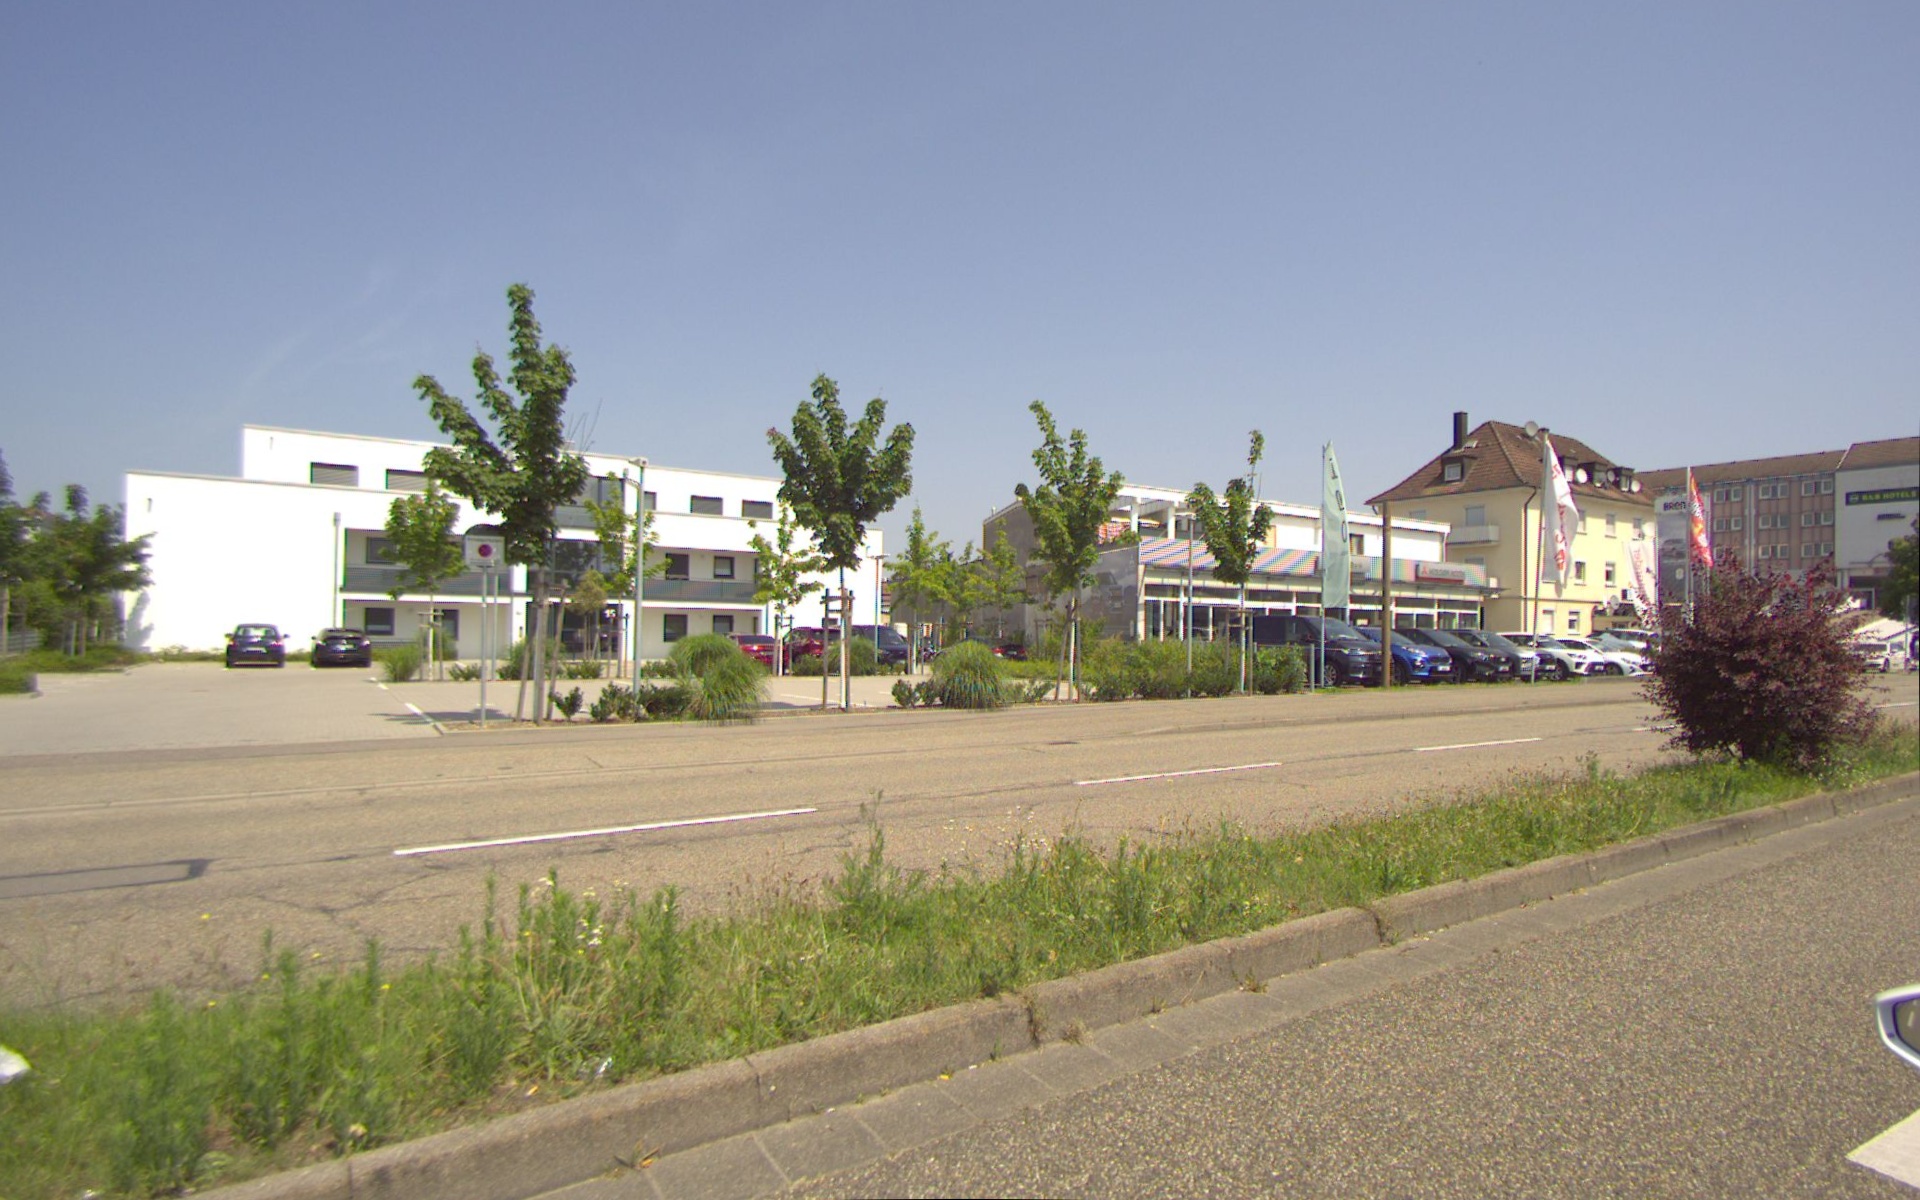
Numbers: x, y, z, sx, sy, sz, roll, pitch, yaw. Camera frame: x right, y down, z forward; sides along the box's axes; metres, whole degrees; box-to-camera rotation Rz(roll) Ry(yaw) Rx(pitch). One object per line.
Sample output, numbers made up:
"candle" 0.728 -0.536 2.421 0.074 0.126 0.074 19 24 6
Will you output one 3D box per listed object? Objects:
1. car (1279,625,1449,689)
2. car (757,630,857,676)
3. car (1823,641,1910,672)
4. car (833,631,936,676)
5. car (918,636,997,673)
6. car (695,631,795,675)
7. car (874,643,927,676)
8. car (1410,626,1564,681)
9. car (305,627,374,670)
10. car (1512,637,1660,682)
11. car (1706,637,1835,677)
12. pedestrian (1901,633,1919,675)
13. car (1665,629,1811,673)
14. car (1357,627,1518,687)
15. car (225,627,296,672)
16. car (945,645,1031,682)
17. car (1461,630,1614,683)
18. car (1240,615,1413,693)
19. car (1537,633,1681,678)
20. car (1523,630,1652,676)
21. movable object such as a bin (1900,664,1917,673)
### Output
"car" 11.189 1.535 28.058 2.067 1.629 3.963 2 -2 -34
"car" -5.400 1.820 35.116 1.861 1.472 3.959 2 -2 -36
"car" 43.253 2.673 47.903 4.703 1.429 1.768 2 -2 -30
"car" -2.762 1.876 36.075 1.861 1.472 3.959 2 -2 -36
"car" -0.131 1.950 36.537 1.701 1.240 3.522 1 -2 -21
"car" -7.212 1.736 33.448 1.829 1.332 3.960 2 -2 -35
"car" -2.917 2.874 48.712 1.847 1.472 3.989 1 -2 -14
"car" 16.417 1.615 31.460 1.741 1.588 3.963 2 -2 -33
"car" -22.919 1.760 37.050 1.861 1.472 3.959 2 -2 -36
"car" 21.481 2.008 34.592 1.841 1.413 3.963 2 -2 -34
"car" 35.829 2.504 44.498 4.094 1.664 1.841 0 -1 6
"pedestrian" 41.447 2.333 43.515 1.021 1.770 0.737 1 -2 -30
"car" 32.416 2.098 41.996 1.741 1.732 4.519 1 -2 -33
"car" 13.932 1.610 29.483 1.741 1.629 3.963 2 -2 -33
"car" -25.019 1.730 35.876 1.862 1.472 3.956 2 -2 -38
"car" 1.028 2.418 38.797 1.631 1.261 3.694 1 -2 -31
"car" 18.947 1.815 33.106 1.905 1.629 3.963 2 -2 -34
"car" 9.659 1.375 26.721 1.979 1.906 3.963 2 -2 -34
"car" 23.100 1.930 35.872 1.741 1.486 3.963 2 -2 -33
"car" 23.762 1.994 38.205 3.923 1.645 1.759 0 -2 22
"movable object such as a bin" 41.002 2.973 43.423 0.501 0.377 0.414 2 -2 -31
